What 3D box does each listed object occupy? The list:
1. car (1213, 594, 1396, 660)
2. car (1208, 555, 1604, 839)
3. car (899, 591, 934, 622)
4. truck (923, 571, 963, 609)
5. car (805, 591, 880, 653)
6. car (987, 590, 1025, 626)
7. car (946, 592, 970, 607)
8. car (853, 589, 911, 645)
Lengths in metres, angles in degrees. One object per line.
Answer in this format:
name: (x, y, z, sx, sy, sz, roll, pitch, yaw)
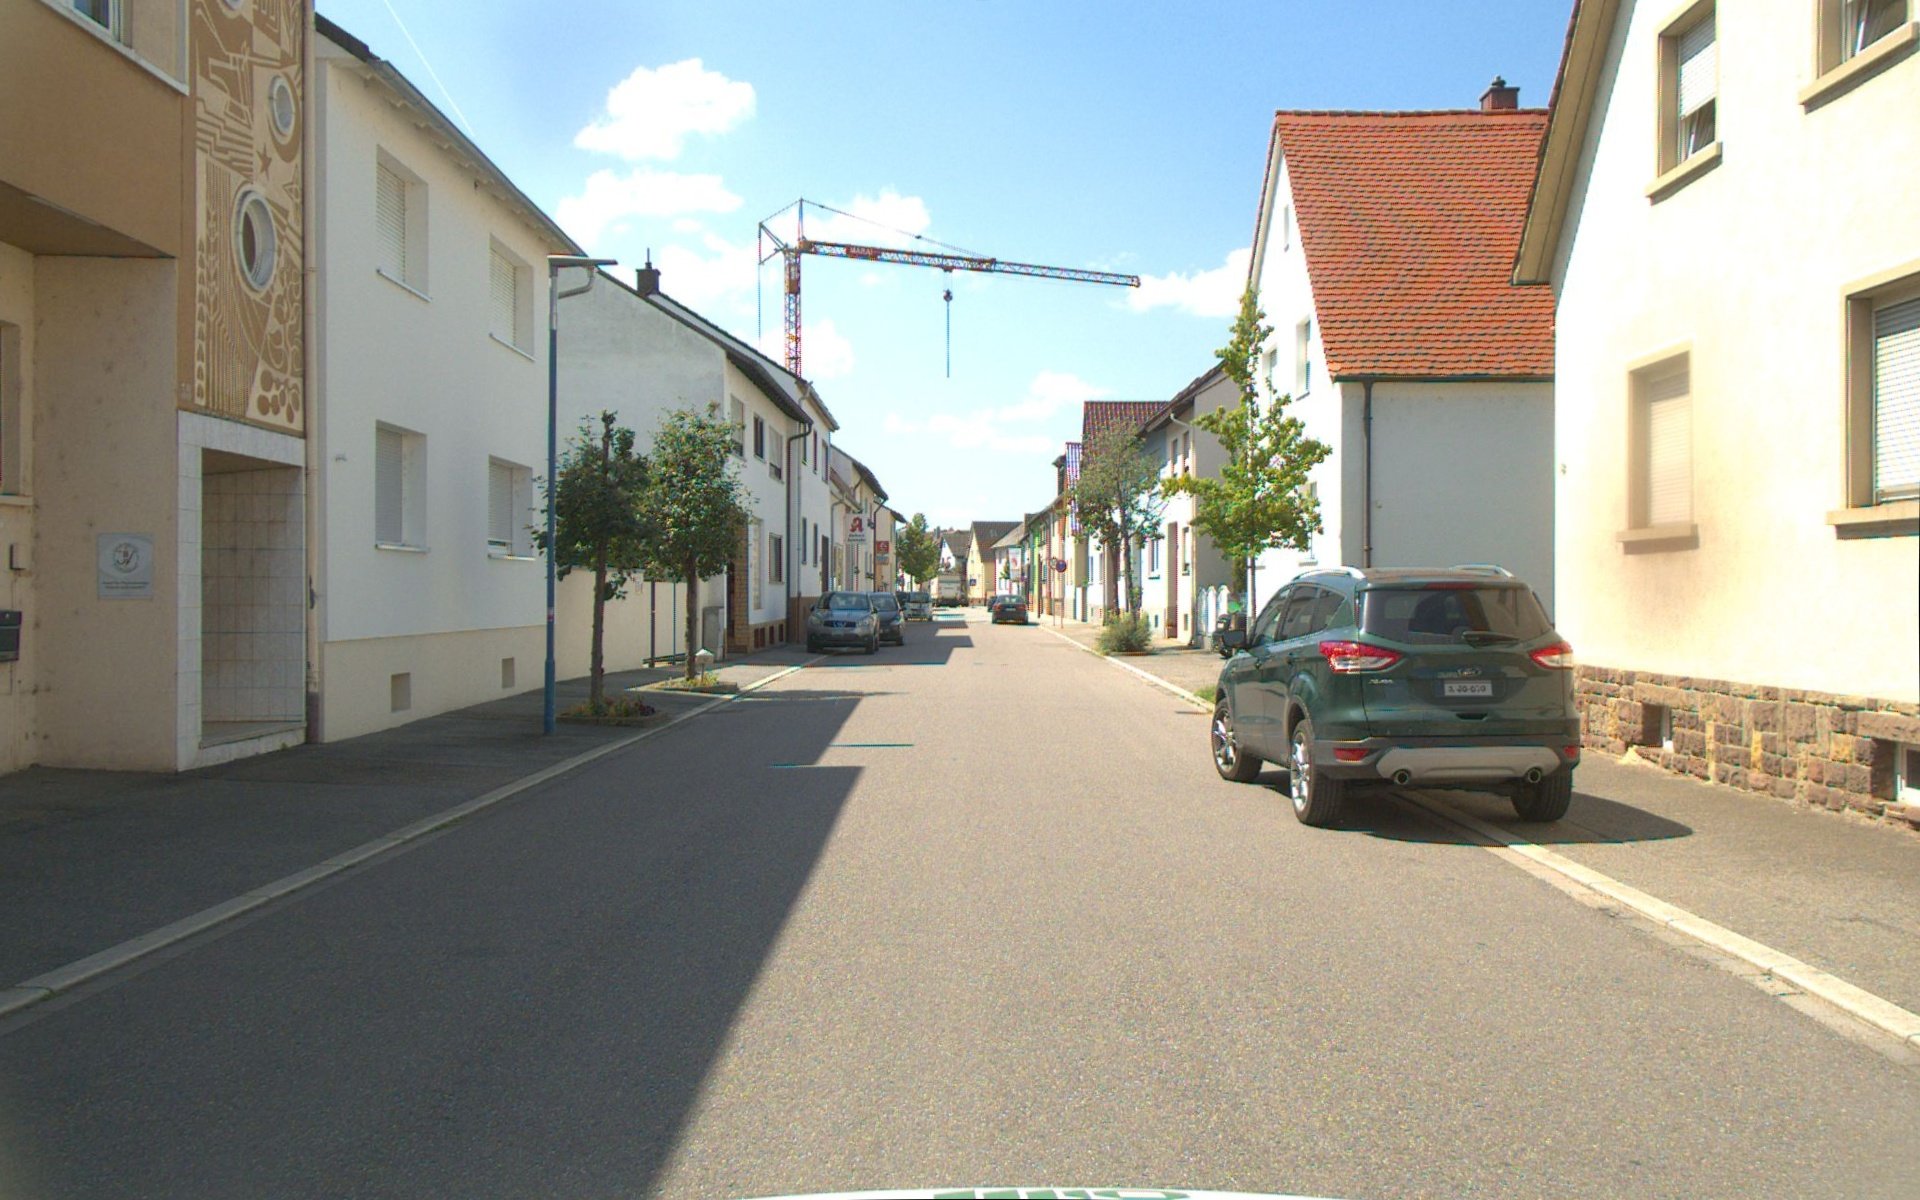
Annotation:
car: (7.838, 0.599, 37.851, 3.841, 1.439, 1.740, 0, 0, 1)
car: (3.080, 0.591, 12.364, 1.694, 1.747, 4.274, 0, 0, -2)
car: (-2.334, 0.321, 90.005, 1.687, 1.583, 4.172, 1, 0, 1)
truck: (-1.950, -1.060, 182.624, 3.313, 3.933, 13.910, -1, 0, -5)
car: (-3.097, 0.552, 44.265, 1.722, 1.551, 4.289, 0, 0, 0)
car: (2.317, 0.414, 84.253, 1.746, 1.784, 3.999, -1, 0, -1)
car: (-0.272, -0.038, 197.281, 1.754, 1.784, 4.210, -1, 0, -16)
car: (-2.353, 0.500, 50.704, 1.619, 1.637, 4.060, 0, 0, 0)
